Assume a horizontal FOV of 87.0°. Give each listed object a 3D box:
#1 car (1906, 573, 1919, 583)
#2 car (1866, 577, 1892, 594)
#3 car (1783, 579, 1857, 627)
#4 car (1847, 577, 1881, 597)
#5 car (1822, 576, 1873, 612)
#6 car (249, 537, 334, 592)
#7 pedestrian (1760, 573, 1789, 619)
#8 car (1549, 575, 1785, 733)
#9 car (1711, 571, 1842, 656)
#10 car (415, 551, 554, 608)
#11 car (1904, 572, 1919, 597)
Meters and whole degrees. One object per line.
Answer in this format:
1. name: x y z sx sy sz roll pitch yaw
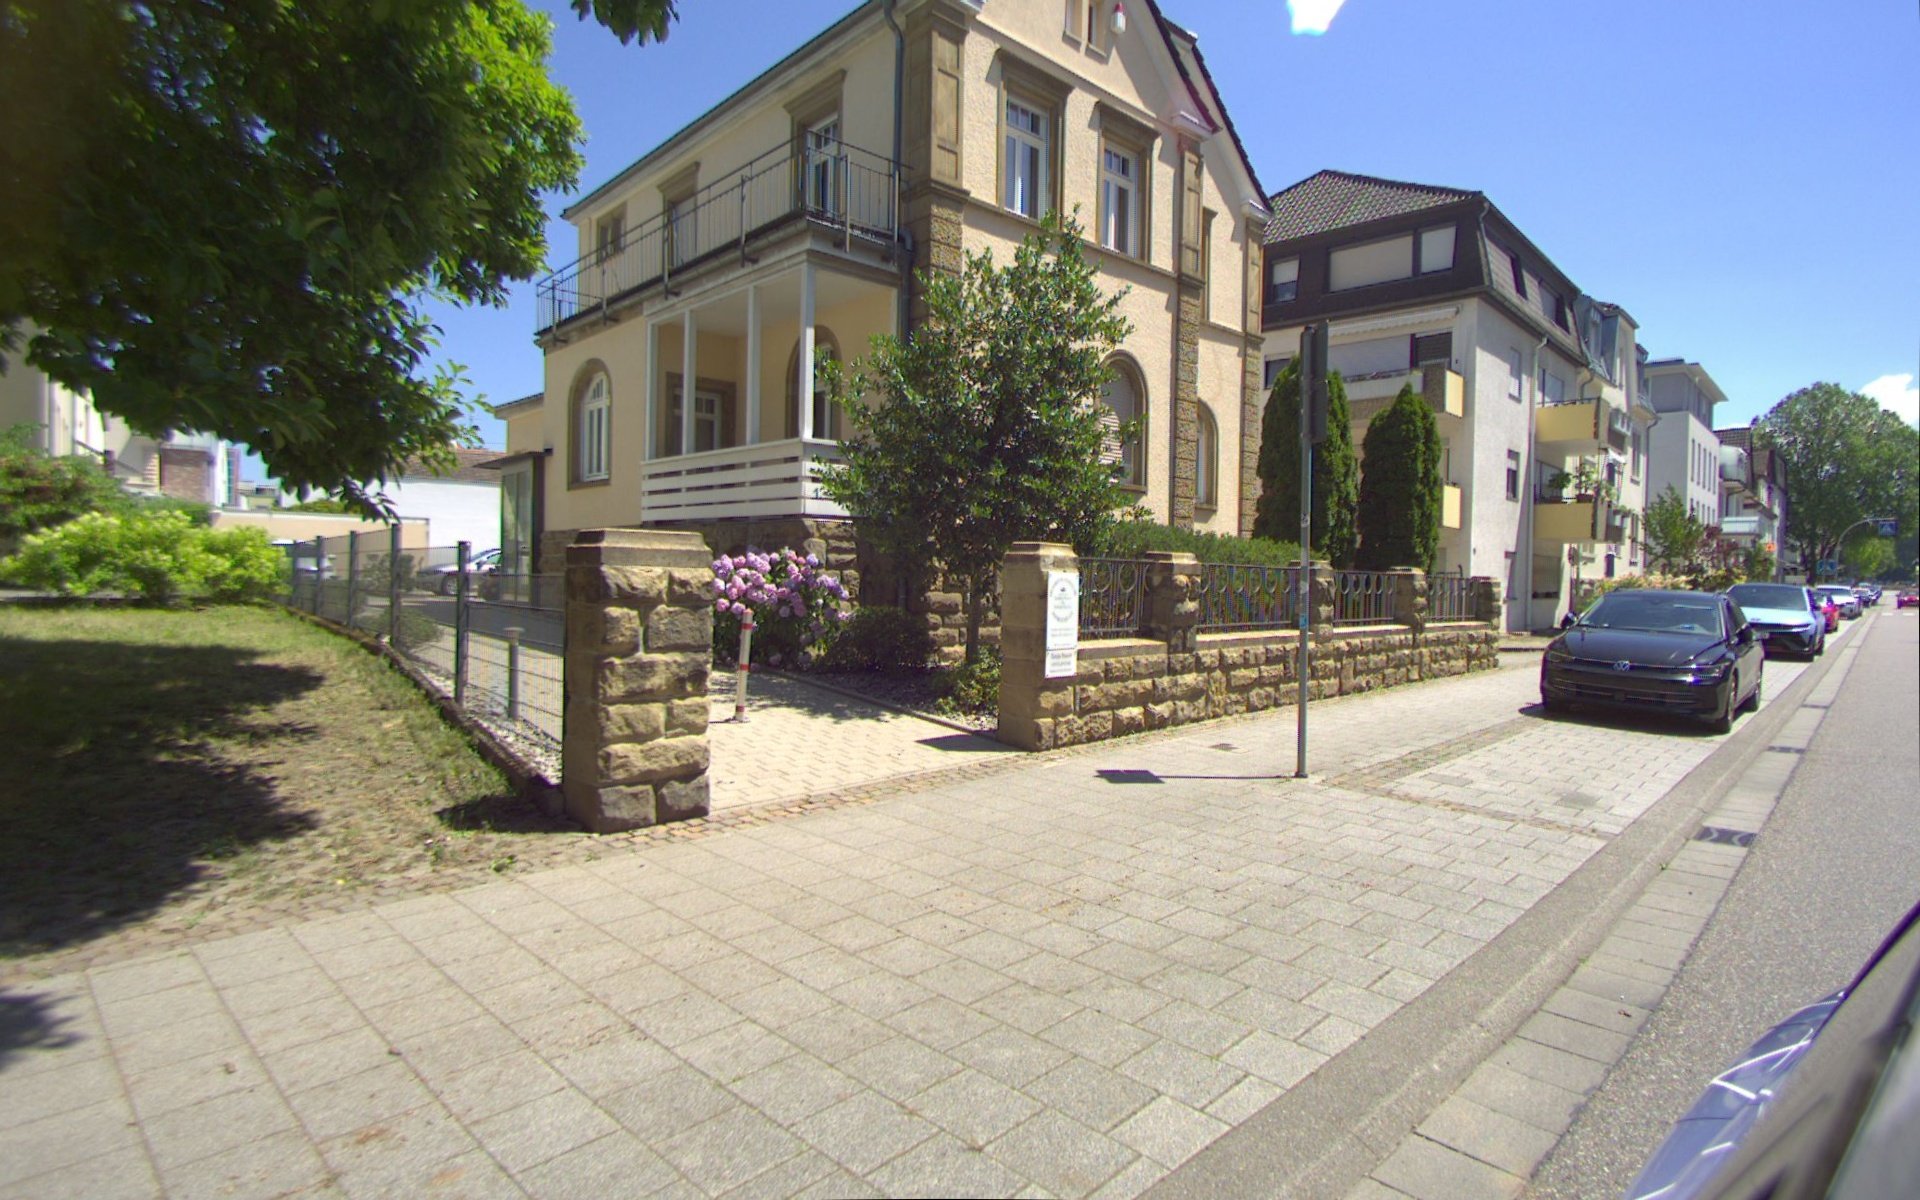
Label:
1. car: 157.468 -3.635 167.058 1.726 1.527 4.231 0 3 41
2. car: 79.310 -1.284 87.322 1.558 1.357 4.109 3 3 43
3. car: 29.606 0.067 34.801 1.605 1.458 3.791 6 5 44
4. car: 70.653 -1.039 79.069 1.827 1.444 4.627 3 3 43
5. car: 44.080 -0.318 50.222 1.705 1.687 4.508 0 1 44
6. car: -18.928 -0.955 28.593 1.752 1.438 4.047 0 1 -37
7. pedestrian: 31.003 -0.142 38.518 0.740 1.690 0.695 5 4 42
8. car: 8.530 0.489 12.047 1.632 1.464 4.329 5 4 43
9. car: 18.285 0.226 22.586 1.844 1.639 4.357 4 4 44
10. car: -14.027 -0.595 29.891 3.462 1.600 1.655 -1 1 -37
11. car: 73.498 -1.208 77.328 1.995 1.915 4.228 0 1 43
